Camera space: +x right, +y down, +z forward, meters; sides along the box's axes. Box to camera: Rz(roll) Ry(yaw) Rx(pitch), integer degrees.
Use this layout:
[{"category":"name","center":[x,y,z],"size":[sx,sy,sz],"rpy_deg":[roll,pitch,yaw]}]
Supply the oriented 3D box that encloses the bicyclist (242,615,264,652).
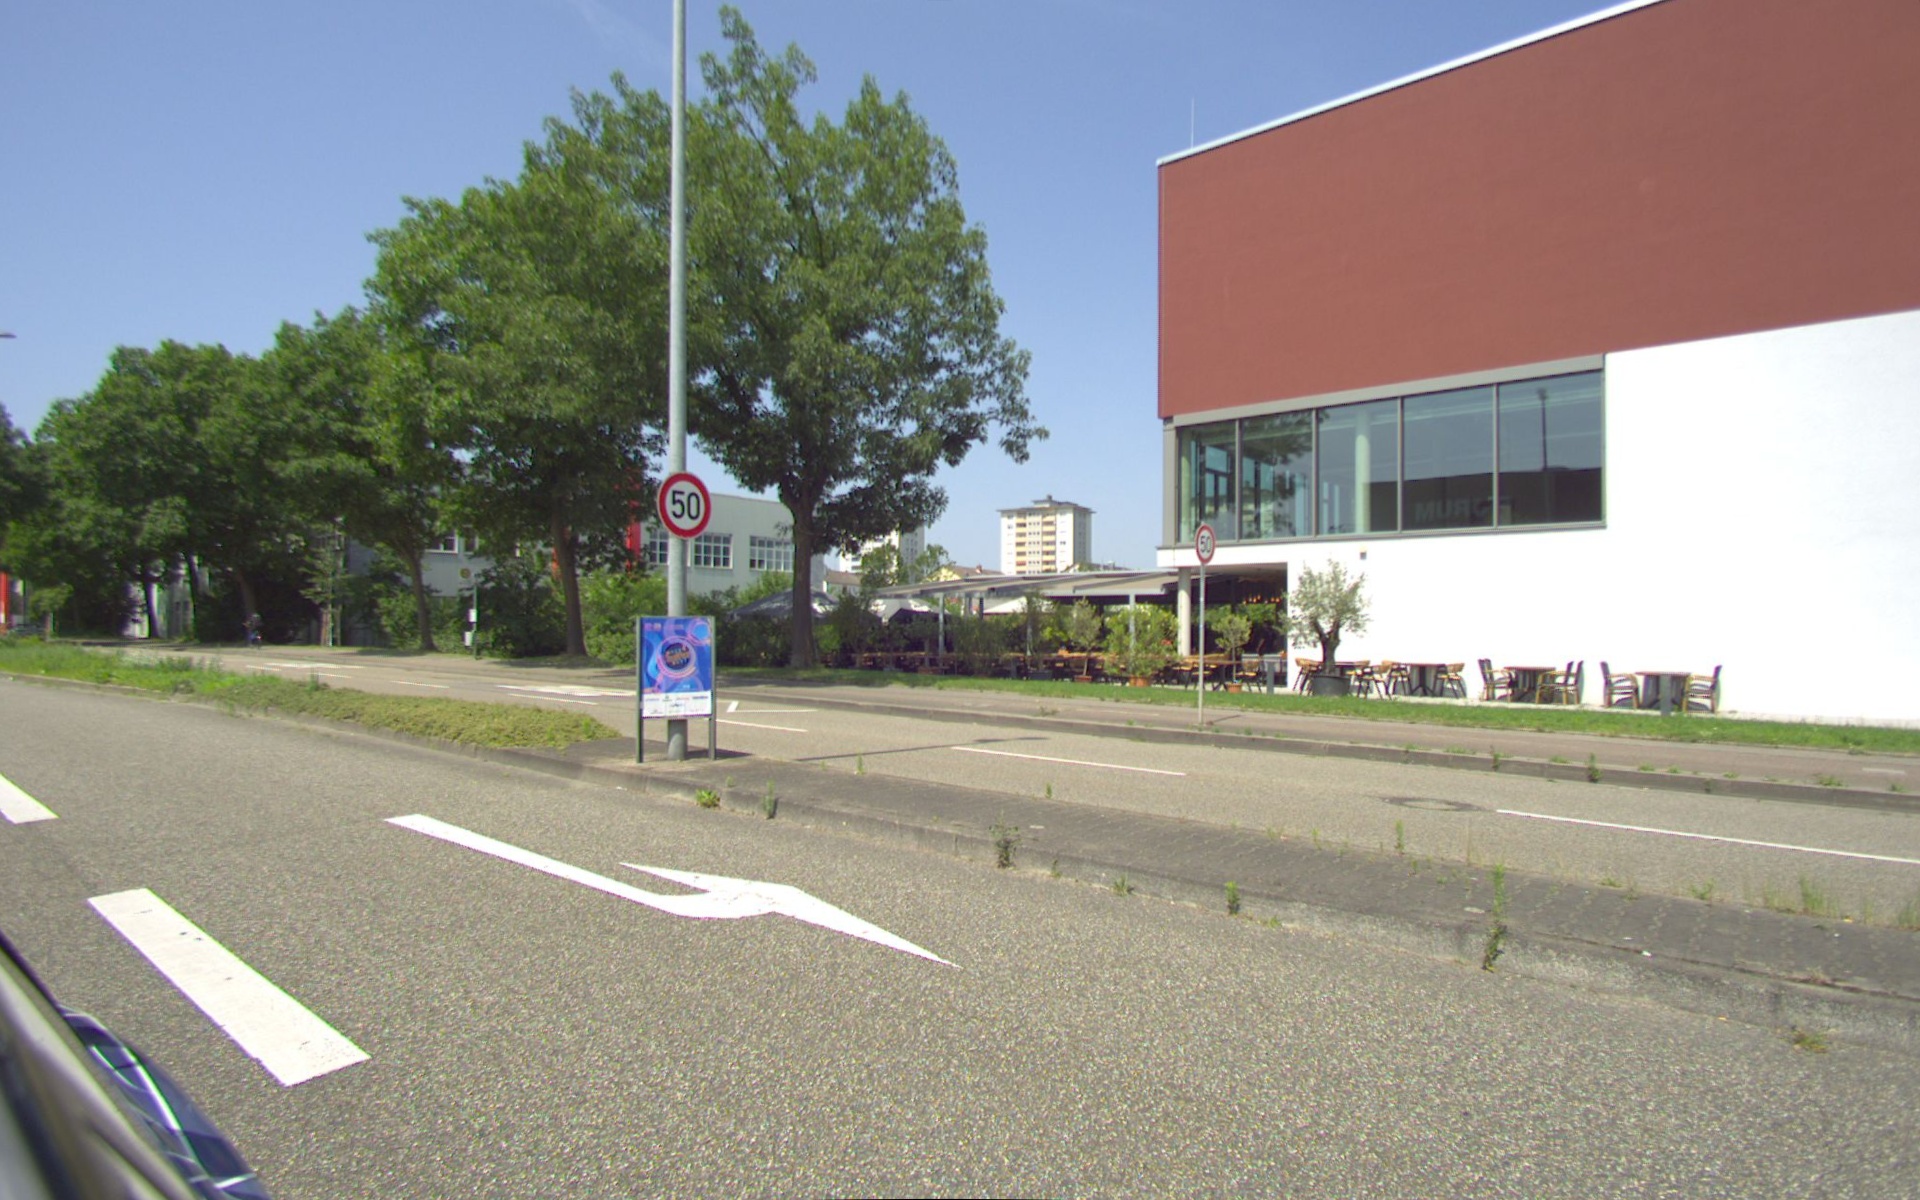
[{"category":"bicyclist","center":[-34.470,1.625,49.333],"size":[0.927,1.783,0.642],"rpy_deg":[-1,-2,41]}]

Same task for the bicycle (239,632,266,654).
[{"category":"bicycle","center":[-34.550,2.080,49.395],"size":[1.884,1.059,0.648],"rpy_deg":[-1,-2,41]}]

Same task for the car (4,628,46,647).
[{"category":"car","center":[-67.651,2.727,73.213],"size":[4.298,1.272,1.700],"rpy_deg":[-1,-4,41]}]
